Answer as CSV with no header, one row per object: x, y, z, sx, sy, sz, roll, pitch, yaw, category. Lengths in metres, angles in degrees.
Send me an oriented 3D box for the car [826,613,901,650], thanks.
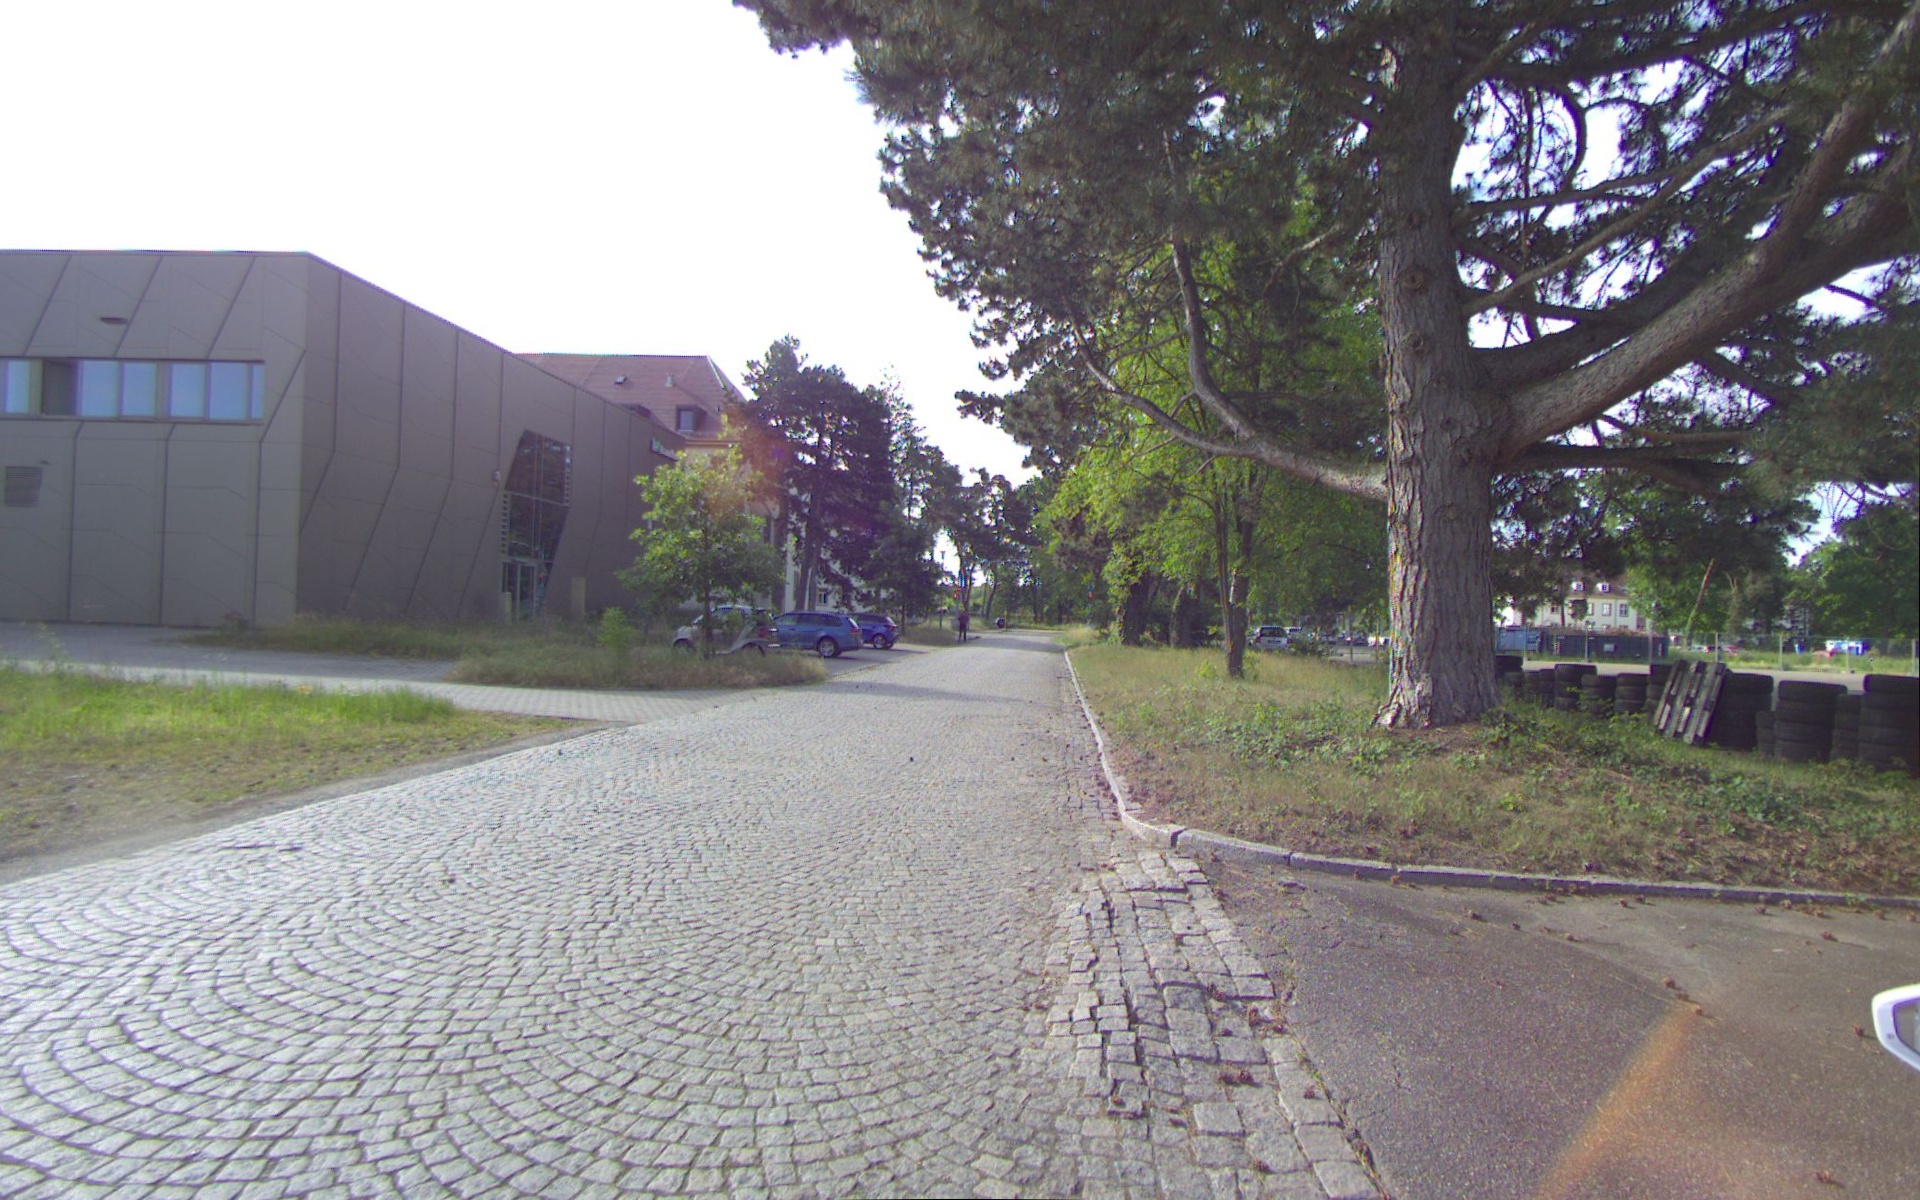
-4.093,1.338,42.962,3.033,1.469,1.492,2,-1,-1,car

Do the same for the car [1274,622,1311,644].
27.321,2.699,82.648,1.960,1.639,4.002,2,-1,6,car

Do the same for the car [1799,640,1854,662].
77.053,4.518,89.420,1.959,1.773,4.003,2,-1,11,car

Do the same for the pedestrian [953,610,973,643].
0.182,1.510,57.937,0.941,1.868,0.954,2,-1,-8,pedestrian

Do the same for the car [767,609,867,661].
-4.739,1.155,33.589,3.033,1.476,1.492,4,-1,1,car

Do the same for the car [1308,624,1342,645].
29.983,2.799,82.648,1.790,1.639,4.003,2,-1,8,car

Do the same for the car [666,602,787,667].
-6.095,0.888,26.358,2.713,1.570,1.426,2,-1,9,car

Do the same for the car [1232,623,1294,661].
13.911,1.896,46.294,1.854,1.561,4.002,2,-1,4,car

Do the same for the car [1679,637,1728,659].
67.035,4.302,90.612,1.959,1.773,4.003,2,-1,10,car

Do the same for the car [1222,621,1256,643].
22.580,2.588,81.291,1.960,1.639,4.002,2,-1,6,car

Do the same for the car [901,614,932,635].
-3.508,2.018,82.125,1.960,1.639,4.002,2,-1,6,car

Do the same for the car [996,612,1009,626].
6.313,2.783,148.703,1.669,2.040,4.002,2,-1,6,car
